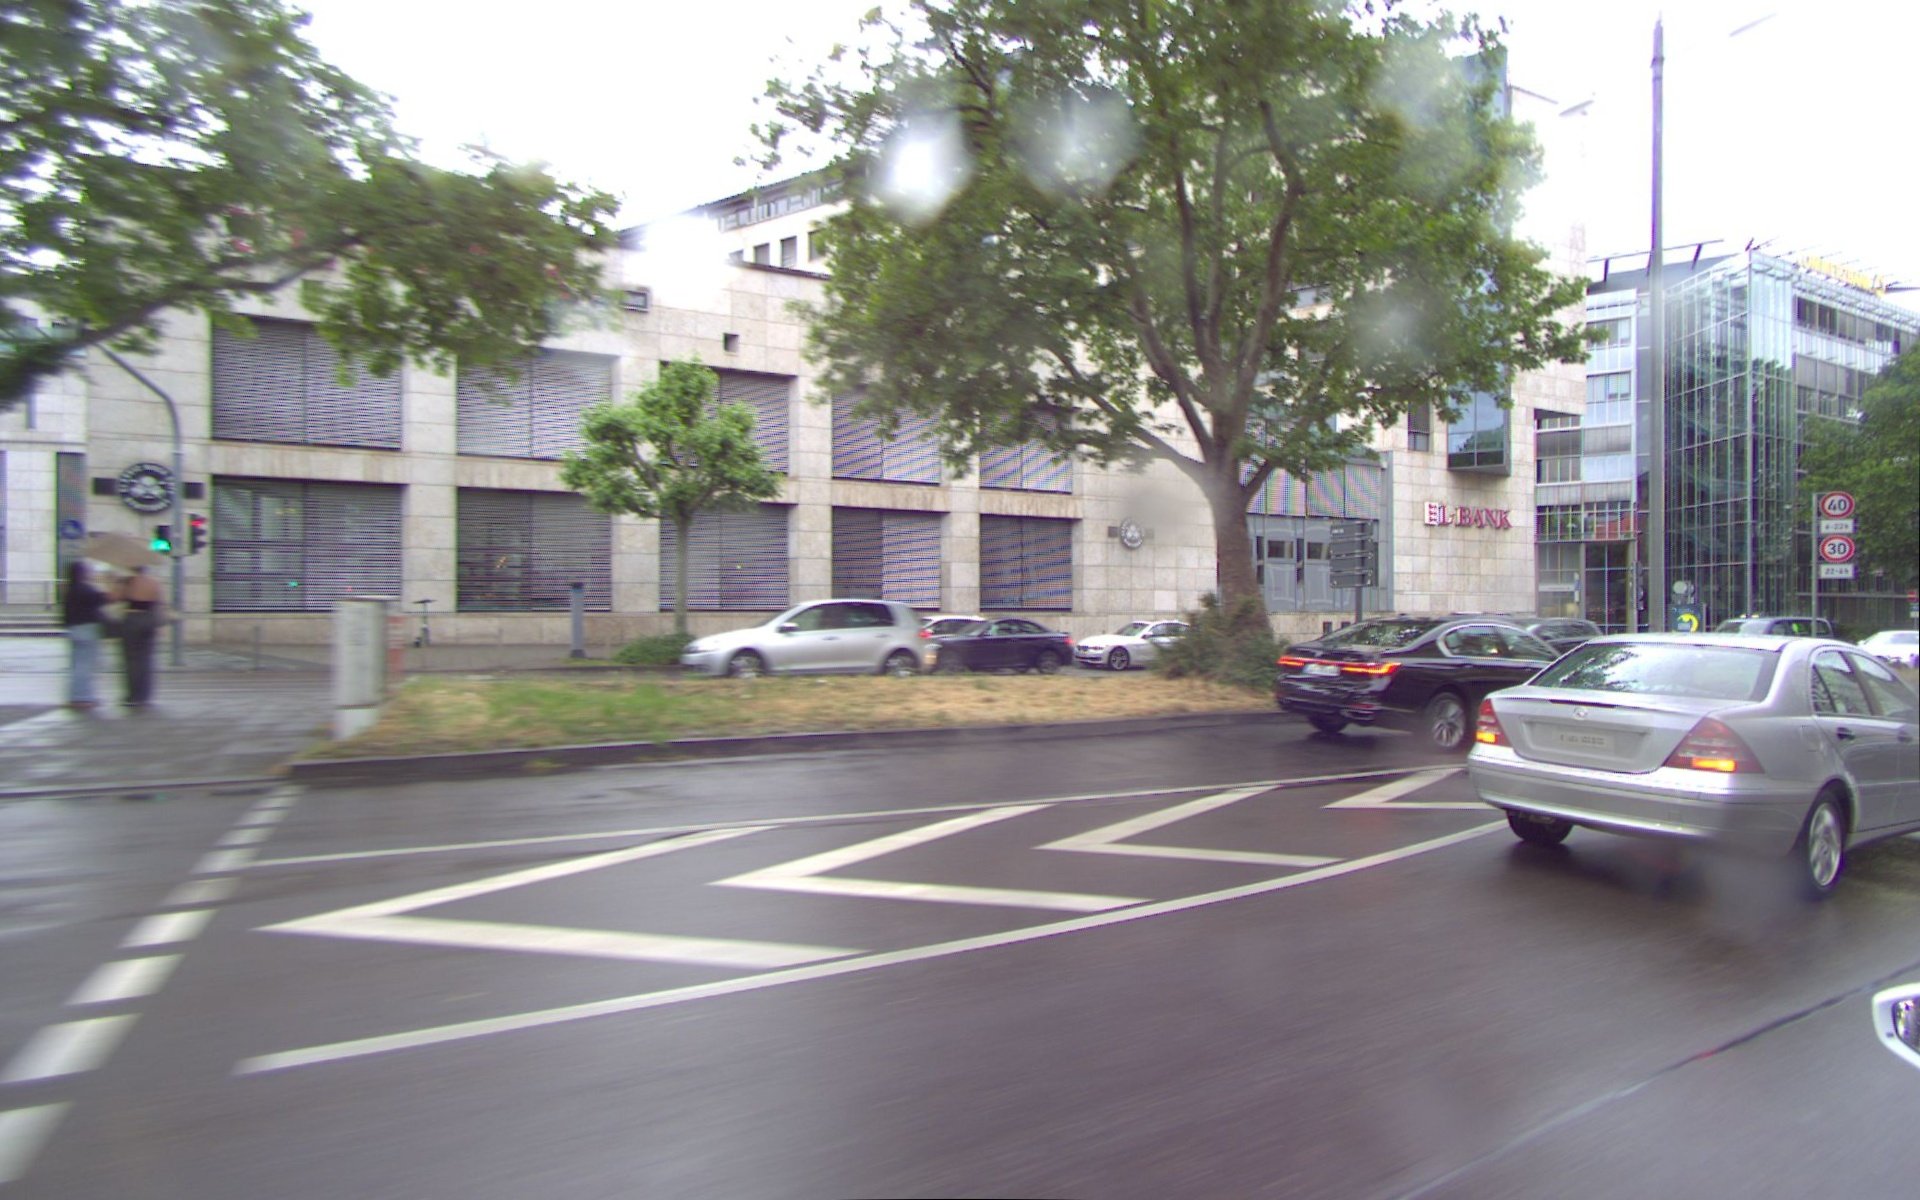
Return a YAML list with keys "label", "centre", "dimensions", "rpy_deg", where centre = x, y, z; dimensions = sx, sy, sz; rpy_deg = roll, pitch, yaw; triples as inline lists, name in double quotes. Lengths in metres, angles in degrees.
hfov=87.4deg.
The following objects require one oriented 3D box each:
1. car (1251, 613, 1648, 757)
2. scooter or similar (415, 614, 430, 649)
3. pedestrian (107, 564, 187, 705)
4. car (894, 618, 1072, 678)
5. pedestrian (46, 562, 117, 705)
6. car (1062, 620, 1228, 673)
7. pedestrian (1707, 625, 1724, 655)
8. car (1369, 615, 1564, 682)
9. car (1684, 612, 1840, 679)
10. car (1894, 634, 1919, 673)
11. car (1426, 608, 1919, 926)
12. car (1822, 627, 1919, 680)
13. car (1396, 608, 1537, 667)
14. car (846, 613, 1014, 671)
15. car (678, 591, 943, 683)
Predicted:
- label: "car"
  centre: [6.091, 0.920, 12.421]
  dimensions: [4.813, 1.498, 1.866]
  rpy_deg: [0, -1, -26]
- label: "scooter or similar"
  centre: [-14.976, 0.870, 27.986]
  dimensions: [0.344, 0.931, 1.411]
  rpy_deg: [1, 0, -28]
- label: "pedestrian"
  centre: [-9.795, 0.403, 12.113]
  dimensions: [0.440, 1.635, 0.640]
  rpy_deg: [1, 0, 33]
- label: "car"
  centre: [0.569, 1.203, 25.175]
  dimensions: [4.112, 1.382, 1.744]
  rpy_deg: [2, -1, -21]
- label: "pedestrian"
  centre: [-10.301, 0.378, 11.782]
  dimensions: [0.544, 1.635, 0.425]
  rpy_deg: [1, 0, 24]
- label: "car"
  centre: [5.515, 1.392, 29.898]
  dimensions: [4.637, 1.434, 1.744]
  rpy_deg: [2, -1, -22]
- label: "pedestrian"
  centre: [40.475, 2.140, 53.822]
  dimensions: [0.659, 1.591, 0.817]
  rpy_deg: [0, 0, 42]
- label: "car"
  centre: [11.293, 1.081, 22.426]
  dimensions: [3.885, 1.382, 1.744]
  rpy_deg: [2, -1, -21]
- label: "car"
  centre: [26.040, 1.471, 32.608]
  dimensions: [5.032, 2.028, 1.827]
  rpy_deg: [2, -1, -23]
- label: "car"
  centre: [38.047, 2.084, 38.500]
  dimensions: [4.334, 1.451, 1.723]
  rpy_deg: [2, -1, -23]
- label: "car"
  centre: [5.190, 0.844, 6.713]
  dimensions: [4.311, 1.499, 1.663]
  rpy_deg: [1, 1, -32]
- label: "car"
  centre: [28.055, 1.609, 29.978]
  dimensions: [4.252, 1.461, 1.856]
  rpy_deg: [2, -1, -23]
- label: "car"
  centre: [15.467, 1.143, 30.642]
  dimensions: [4.040, 1.661, 1.824]
  rpy_deg: [2, -1, -28]
- label: "car"
  centre: [-0.819, 1.132, 27.327]
  dimensions: [4.230, 1.434, 1.744]
  rpy_deg: [2, -1, -21]
- label: "car"
  centre: [-2.503, 0.637, 16.833]
  dimensions: [4.073, 1.382, 1.743]
  rpy_deg: [2, -1, -23]
